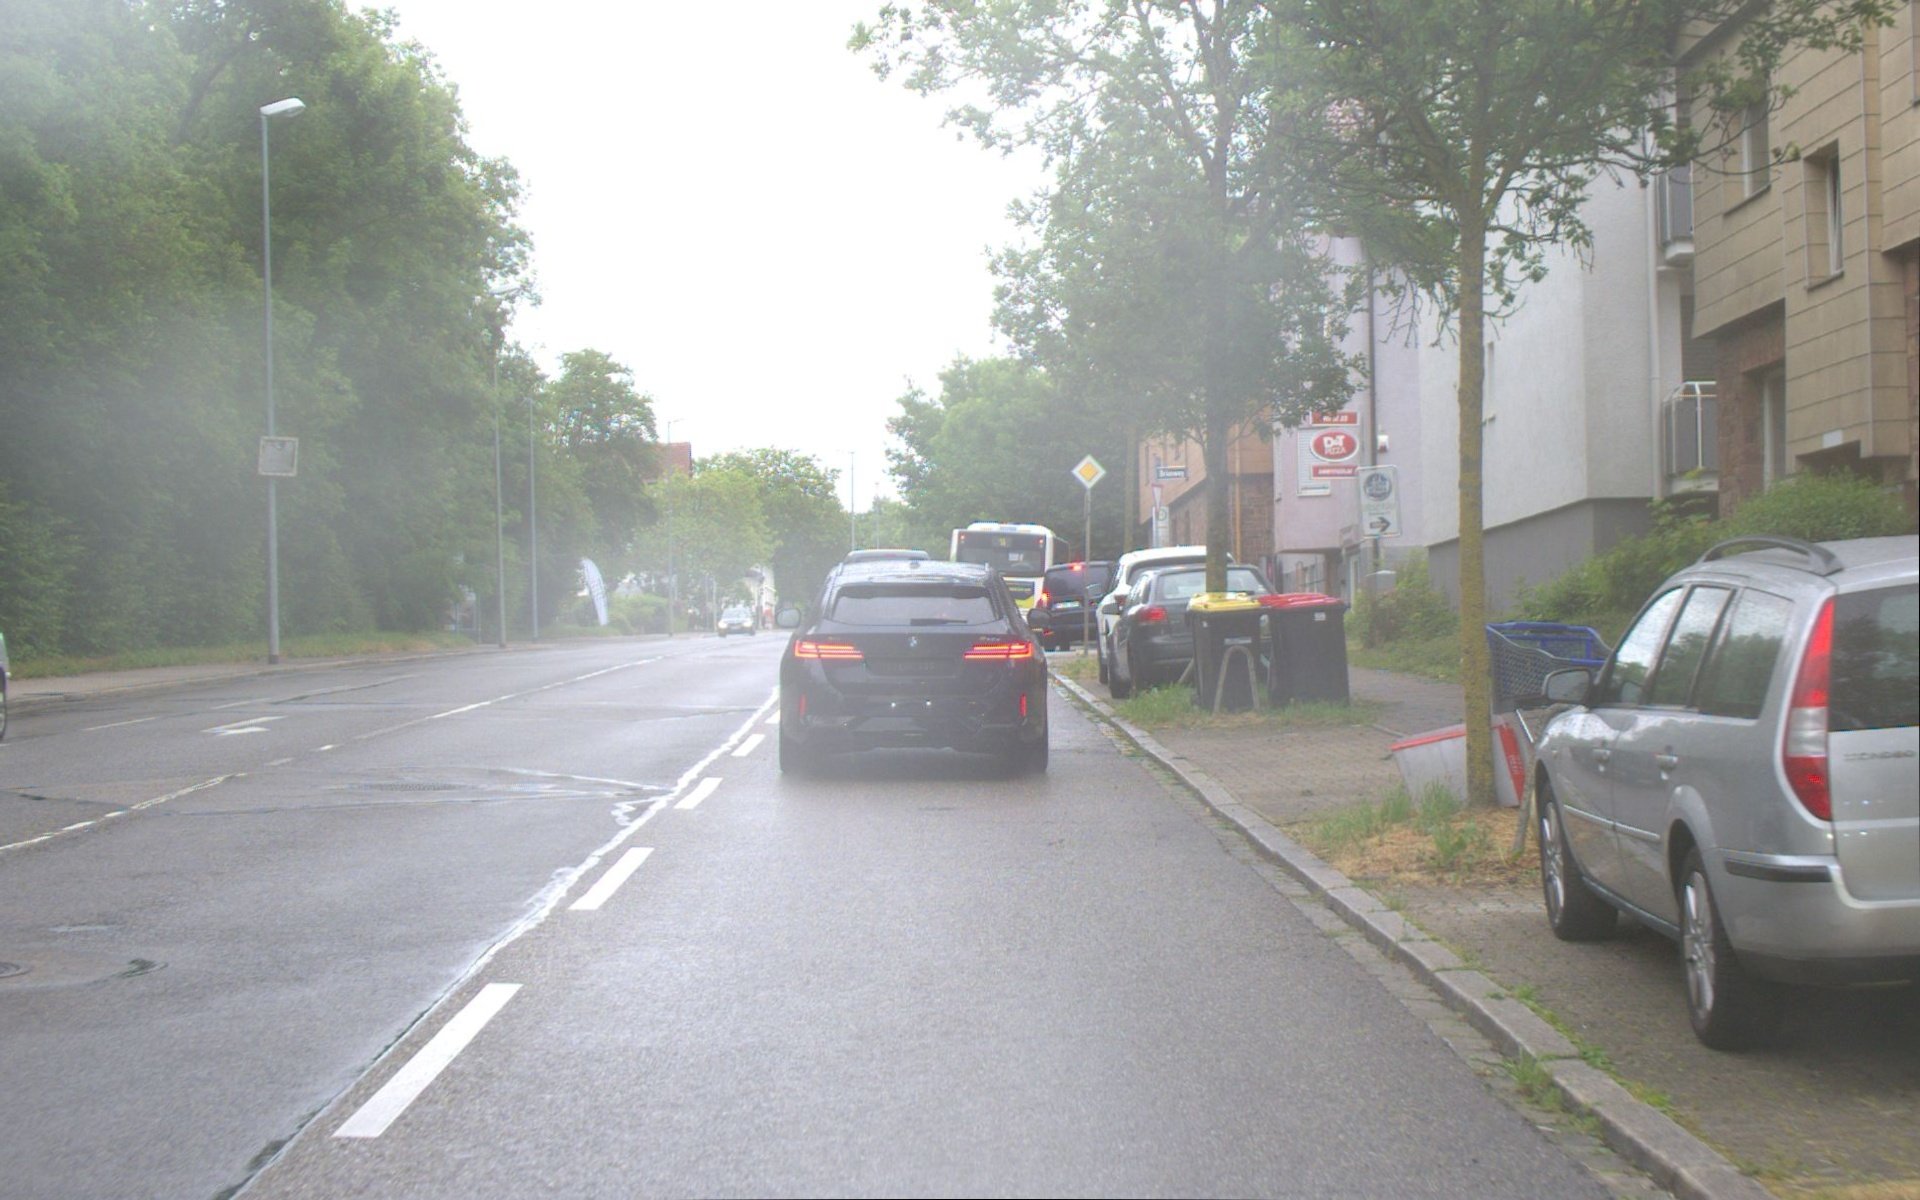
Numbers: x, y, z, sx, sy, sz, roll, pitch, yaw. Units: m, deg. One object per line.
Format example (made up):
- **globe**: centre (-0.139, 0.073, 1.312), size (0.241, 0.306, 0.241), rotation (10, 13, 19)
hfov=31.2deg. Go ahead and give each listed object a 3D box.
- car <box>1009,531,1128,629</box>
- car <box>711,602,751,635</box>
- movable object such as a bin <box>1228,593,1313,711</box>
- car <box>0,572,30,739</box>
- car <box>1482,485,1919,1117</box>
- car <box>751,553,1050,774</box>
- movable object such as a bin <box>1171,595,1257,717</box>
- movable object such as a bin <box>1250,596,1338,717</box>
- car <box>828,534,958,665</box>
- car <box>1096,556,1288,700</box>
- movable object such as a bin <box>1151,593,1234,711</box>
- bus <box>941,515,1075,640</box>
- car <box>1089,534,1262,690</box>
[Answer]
- **car**: centre (2.371, -0.409, 73.835), size (1.927, 1.886, 4.759), rotation (-4, -1, 8)
- **car**: centre (-11.611, 0.953, 174.341), size (1.770, 1.528, 4.000), rotation (-2, 1, -1)
- **movable object such as a bin**: centre (2.913, 0.484, 32.274), size (0.619, 1.046, 0.822), rotation (-3, 1, -3)
- **car**: centre (-9.416, 0.553, 29.402), size (1.689, 1.478, 4.452), rotation (-3, 1, 0)
- **car**: centre (2.986, 0.458, 11.452), size (1.702, 1.579, 4.643), rotation (-4, 2, 0)
- **car**: centre (-0.398, 0.408, 25.356), size (1.993, 1.448, 4.000), rotation (2, 1, 0)
- **movable object such as a bin**: centre (2.311, 0.502, 31.366), size (0.619, 1.046, 0.822), rotation (-3, 1, -3)
- **movable object such as a bin**: centre (3.043, 0.509, 31.352), size (0.619, 1.046, 0.822), rotation (-3, 1, -3)
- **car**: centre (-1.048, -0.031, 55.033), size (1.993, 2.007, 4.000), rotation (0, 1, 0)
- **car**: centre (2.450, 0.273, 37.144), size (1.641, 1.444, 3.999), rotation (-1, 0, -2)
- **movable object such as a bin**: centre (2.174, 0.478, 32.263), size (0.619, 1.046, 0.822), rotation (-3, 1, -3)
- **bus**: centre (1.270, -0.604, 85.358), size (2.623, 2.838, 8.287), rotation (-2, 1, 5)
- **car**: centre (2.603, 0.103, 42.476), size (1.824, 1.766, 4.541), rotation (-2, 1, 0)
